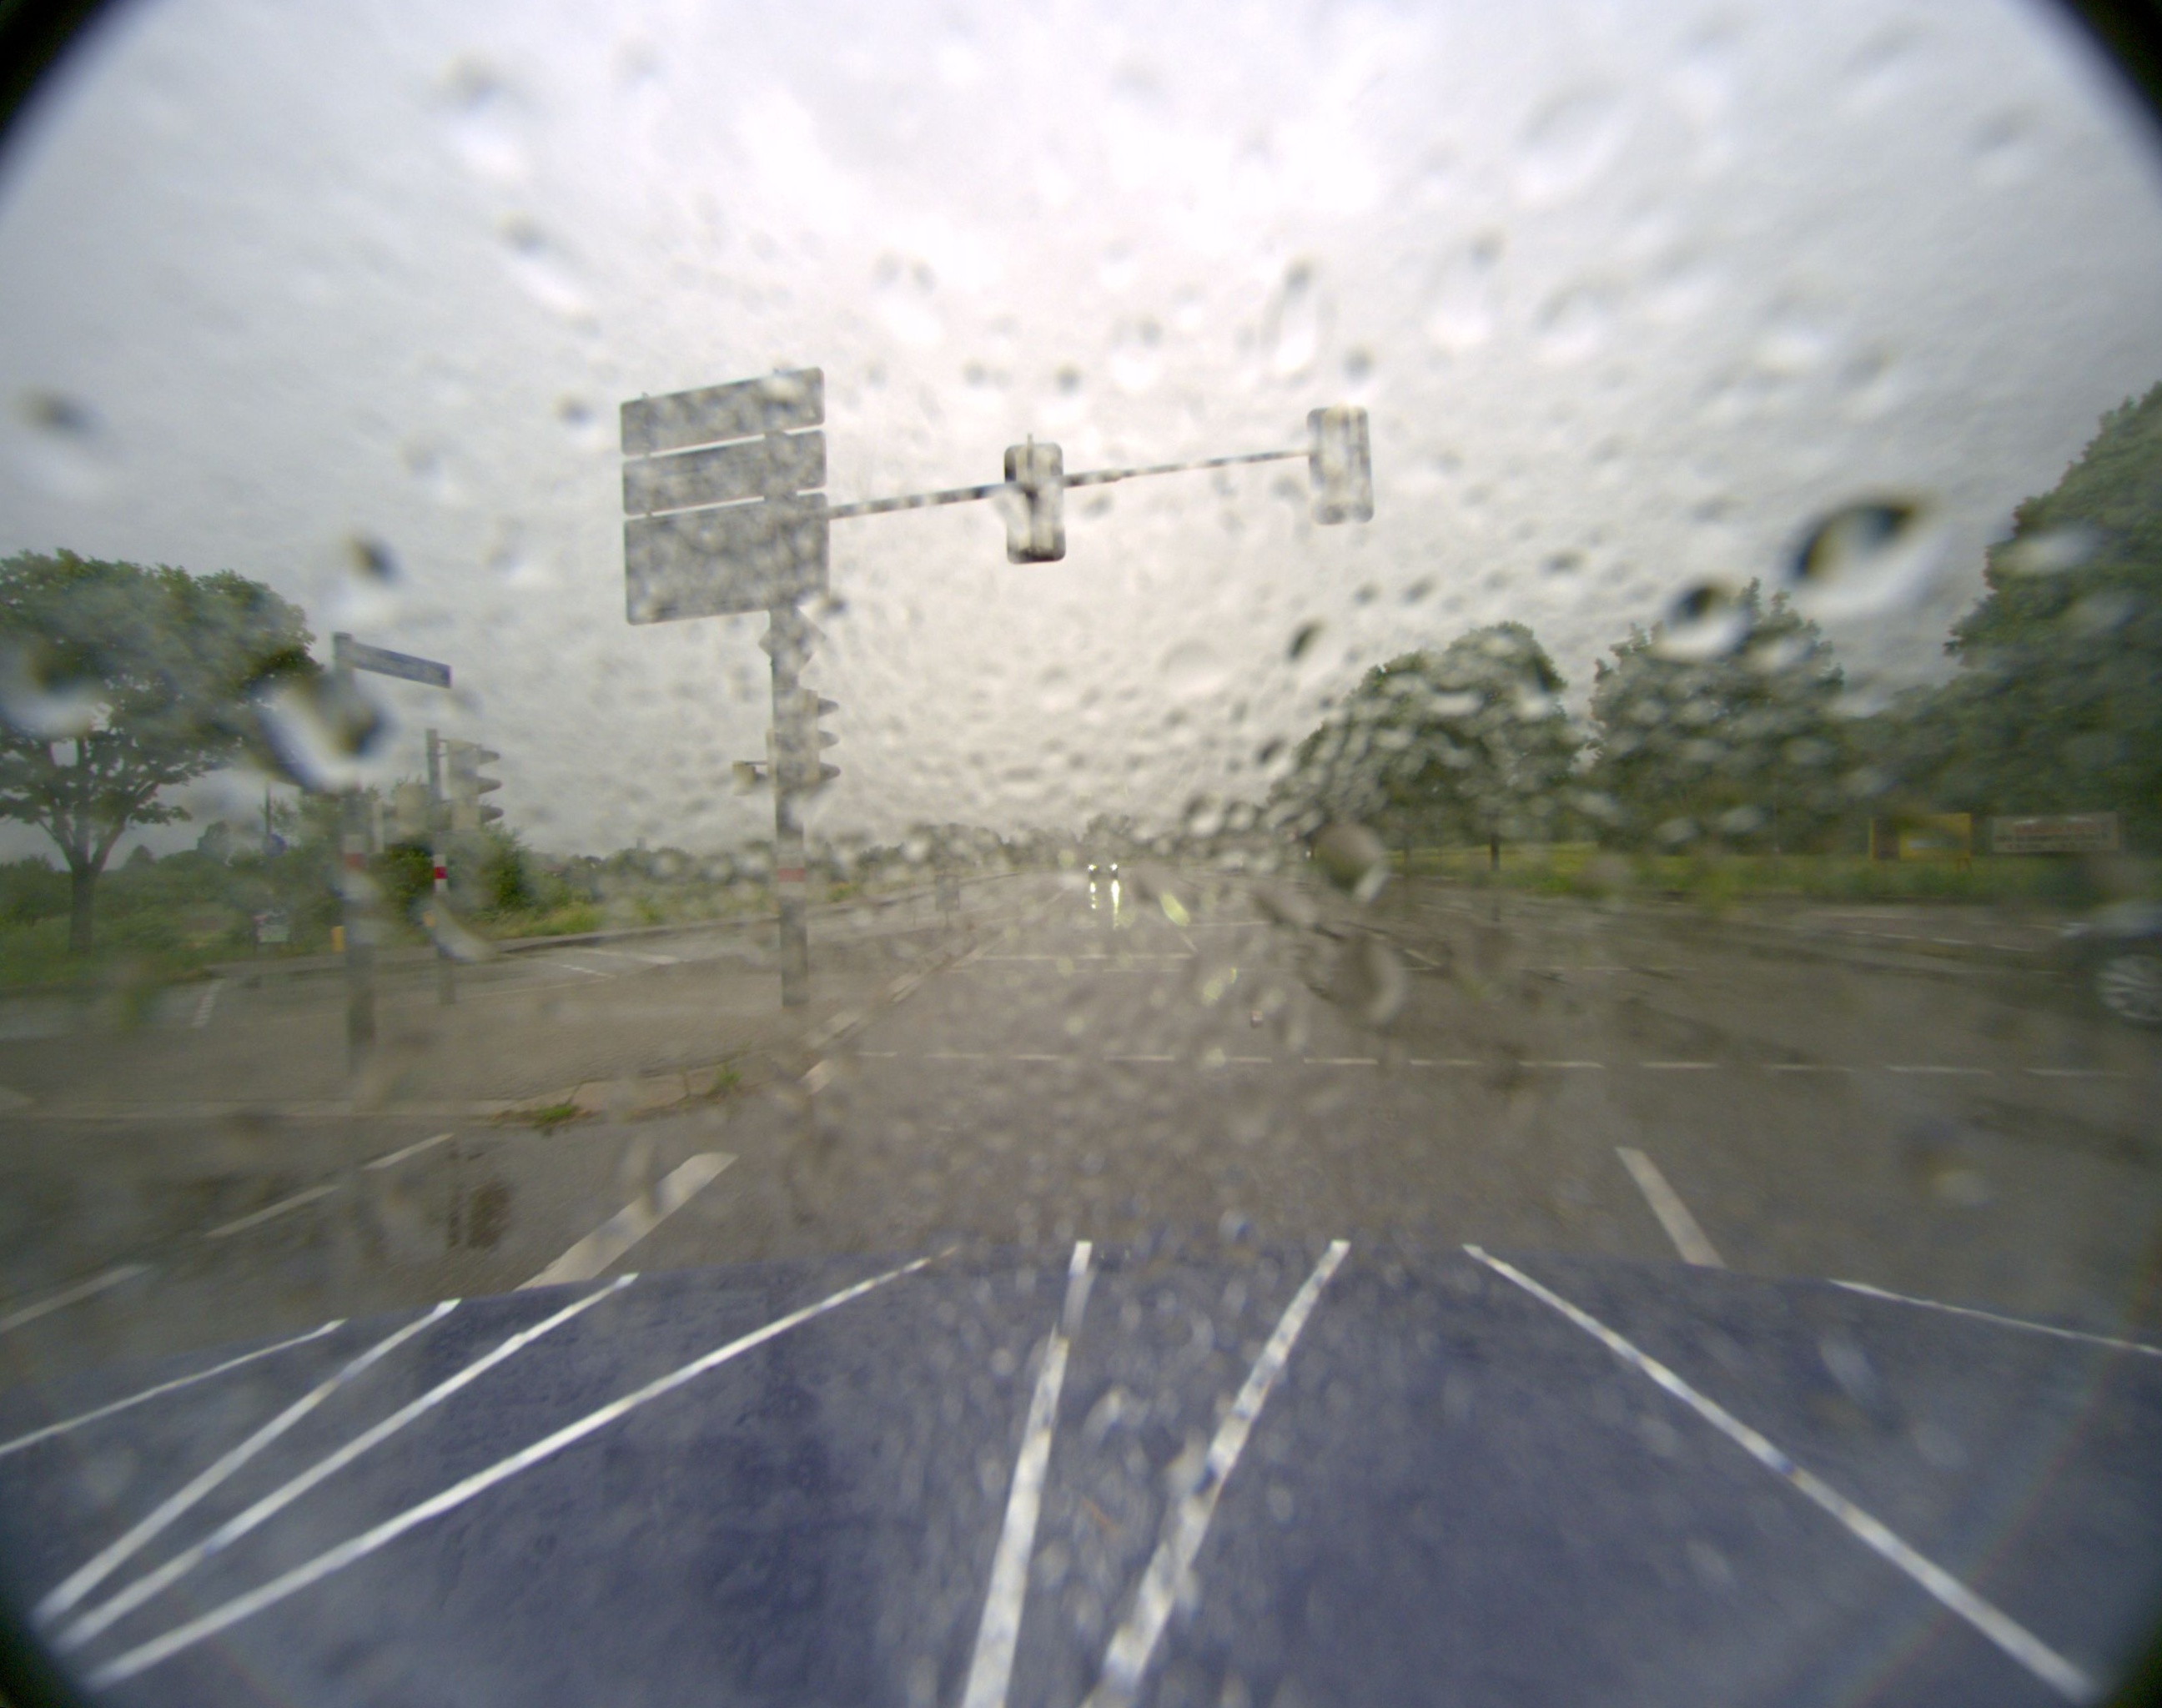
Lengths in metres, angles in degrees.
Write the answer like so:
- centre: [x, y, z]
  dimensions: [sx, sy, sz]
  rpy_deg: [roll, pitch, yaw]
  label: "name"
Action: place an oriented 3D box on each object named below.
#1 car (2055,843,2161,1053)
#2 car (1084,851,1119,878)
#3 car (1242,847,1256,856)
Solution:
- centre: [8.464, 0.663, 3.704]
  dimensions: [1.713, 1.457, 4.452]
  rpy_deg: [-2, 1, 0]
  label: "car"
- centre: [1.250, 0.625, 48.831]
  dimensions: [1.916, 1.576, 4.102]
  rpy_deg: [-2, 1, -3]
  label: "car"
- centre: [32.267, -0.527, 145.746]
  dimensions: [1.913, 1.678, 4.109]
  rpy_deg: [-2, 1, 22]
  label: "car"
